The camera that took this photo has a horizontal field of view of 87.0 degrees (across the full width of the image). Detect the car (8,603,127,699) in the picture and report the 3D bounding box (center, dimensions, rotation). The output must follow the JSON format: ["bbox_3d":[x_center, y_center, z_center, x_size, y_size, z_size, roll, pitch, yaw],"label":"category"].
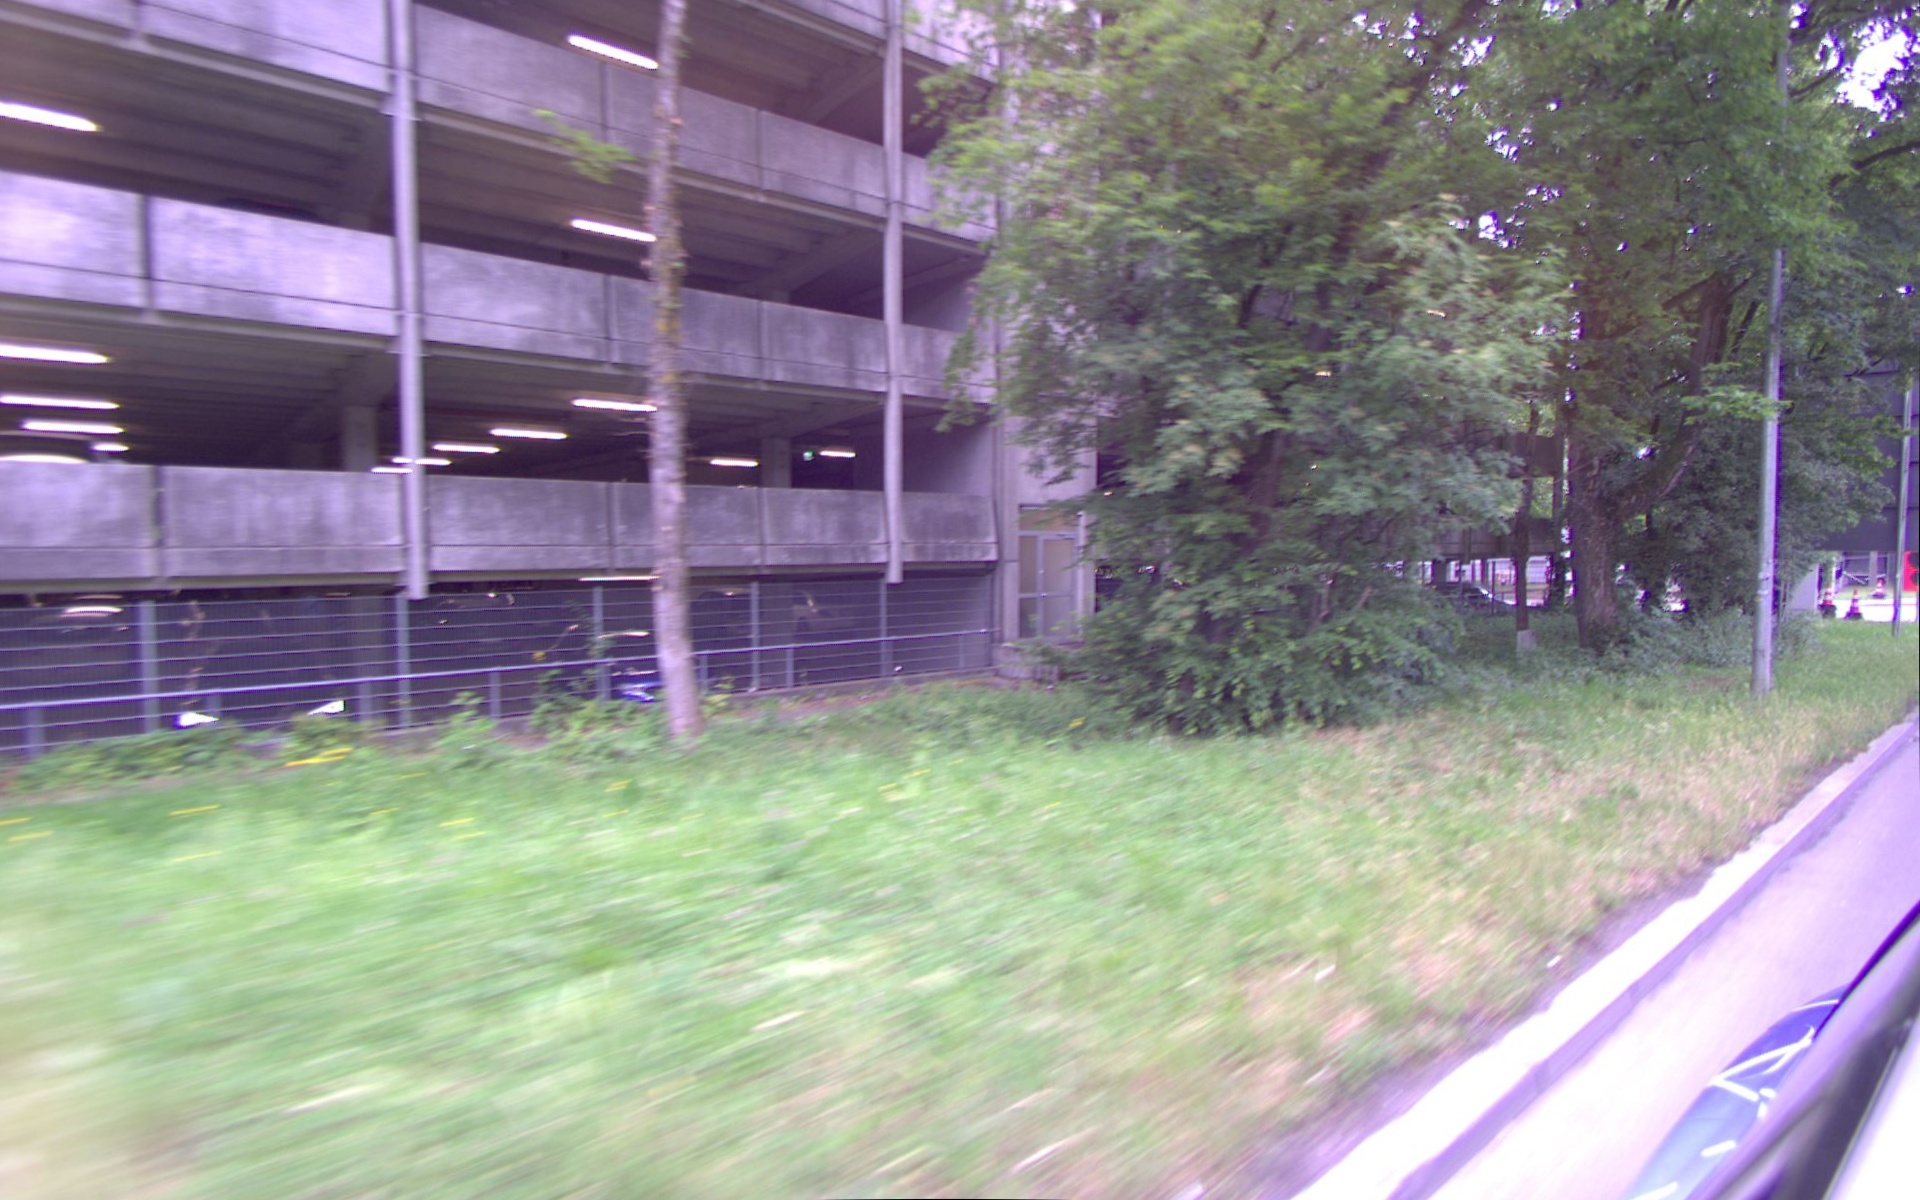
[{"bbox_3d":[-18.015,0.942,20.507,1.644,1.496,3.670,-2,4,-41],"label":"car"}]

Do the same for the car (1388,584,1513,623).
[{"bbox_3d":[17.190,0.085,35.566,1.593,1.176,3.639,-2,3,-38],"label":"car"}]

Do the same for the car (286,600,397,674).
[{"bbox_3d":[-14.597,0.802,23.821,1.644,1.367,3.670,-2,4,-41],"label":"car"}]

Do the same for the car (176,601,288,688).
[{"bbox_3d":[-15.958,0.892,22.124,1.644,1.500,3.670,-2,4,-41],"label":"car"}]

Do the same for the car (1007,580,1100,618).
[{"bbox_3d":[3.440,-0.058,37.500,1.497,1.190,3.340,-4,5,-40],"label":"car"}]

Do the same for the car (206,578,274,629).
[{"bbox_3d":[-25.350,0.083,35.612,1.667,1.589,3.522,-2,3,-40],"label":"car"}]

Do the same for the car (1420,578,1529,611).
[{"bbox_3d":[18.837,-0.239,37.145,1.511,1.100,3.251,-2,3,-40],"label":"car"}]

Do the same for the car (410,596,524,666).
[{"bbox_3d":[-12.212,0.695,24.980,1.644,1.367,3.670,-2,4,-41],"label":"car"}]

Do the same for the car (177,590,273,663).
[{"bbox_3d":[-18.724,0.610,25.730,1.644,1.500,3.670,-2,4,-41],"label":"car"}]

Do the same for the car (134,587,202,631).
[{"bbox_3d":[-26.610,0.266,33.974,1.667,1.284,3.522,-2,3,-40],"label":"car"}]

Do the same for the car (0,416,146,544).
[{"bbox_3d":[-11.327,-1.396,12.450,1.798,1.359,3.846,-1,4,-36],"label":"car"}]

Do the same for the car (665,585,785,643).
[{"bbox_3d":[-7.026,0.361,30.030,1.794,1.469,4.067,-1,3,-41],"label":"car"}]

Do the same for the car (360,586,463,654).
[{"bbox_3d":[-15.604,0.506,28.695,1.758,1.563,3.699,-3,5,-41],"label":"car"}]

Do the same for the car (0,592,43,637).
[{"bbox_3d":[-29.768,0.440,31.543,1.669,1.284,3.518,-4,4,-42],"label":"car"}]

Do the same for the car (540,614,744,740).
[{"bbox_3d":[-5.418,1.161,16.953,1.831,1.551,3.995,-1,4,-41],"label":"car"}]

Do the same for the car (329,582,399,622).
[{"bbox_3d":[-21.954,0.043,37.230,1.691,1.284,3.684,-2,3,-38],"label":"car"}]

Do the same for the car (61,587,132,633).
[{"bbox_3d":[-28.371,0.289,33.300,1.667,1.284,3.522,-2,3,-40],"label":"car"}]

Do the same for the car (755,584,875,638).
[{"bbox_3d":[-4.540,0.292,31.333,1.794,1.433,4.067,-1,3,-41],"label":"car"}]

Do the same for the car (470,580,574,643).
[{"bbox_3d":[-13.103,0.292,30.168,1.758,1.563,3.699,-3,5,-41],"label":"car"}]

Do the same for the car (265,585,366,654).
[{"bbox_3d":[-17.809,0.477,27.893,1.758,1.563,3.699,-3,5,-41],"label":"car"}]

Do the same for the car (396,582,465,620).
[{"bbox_3d":[-20.597,0.002,39.328,1.691,1.317,3.719,-2,3,-38],"label":"car"}]
